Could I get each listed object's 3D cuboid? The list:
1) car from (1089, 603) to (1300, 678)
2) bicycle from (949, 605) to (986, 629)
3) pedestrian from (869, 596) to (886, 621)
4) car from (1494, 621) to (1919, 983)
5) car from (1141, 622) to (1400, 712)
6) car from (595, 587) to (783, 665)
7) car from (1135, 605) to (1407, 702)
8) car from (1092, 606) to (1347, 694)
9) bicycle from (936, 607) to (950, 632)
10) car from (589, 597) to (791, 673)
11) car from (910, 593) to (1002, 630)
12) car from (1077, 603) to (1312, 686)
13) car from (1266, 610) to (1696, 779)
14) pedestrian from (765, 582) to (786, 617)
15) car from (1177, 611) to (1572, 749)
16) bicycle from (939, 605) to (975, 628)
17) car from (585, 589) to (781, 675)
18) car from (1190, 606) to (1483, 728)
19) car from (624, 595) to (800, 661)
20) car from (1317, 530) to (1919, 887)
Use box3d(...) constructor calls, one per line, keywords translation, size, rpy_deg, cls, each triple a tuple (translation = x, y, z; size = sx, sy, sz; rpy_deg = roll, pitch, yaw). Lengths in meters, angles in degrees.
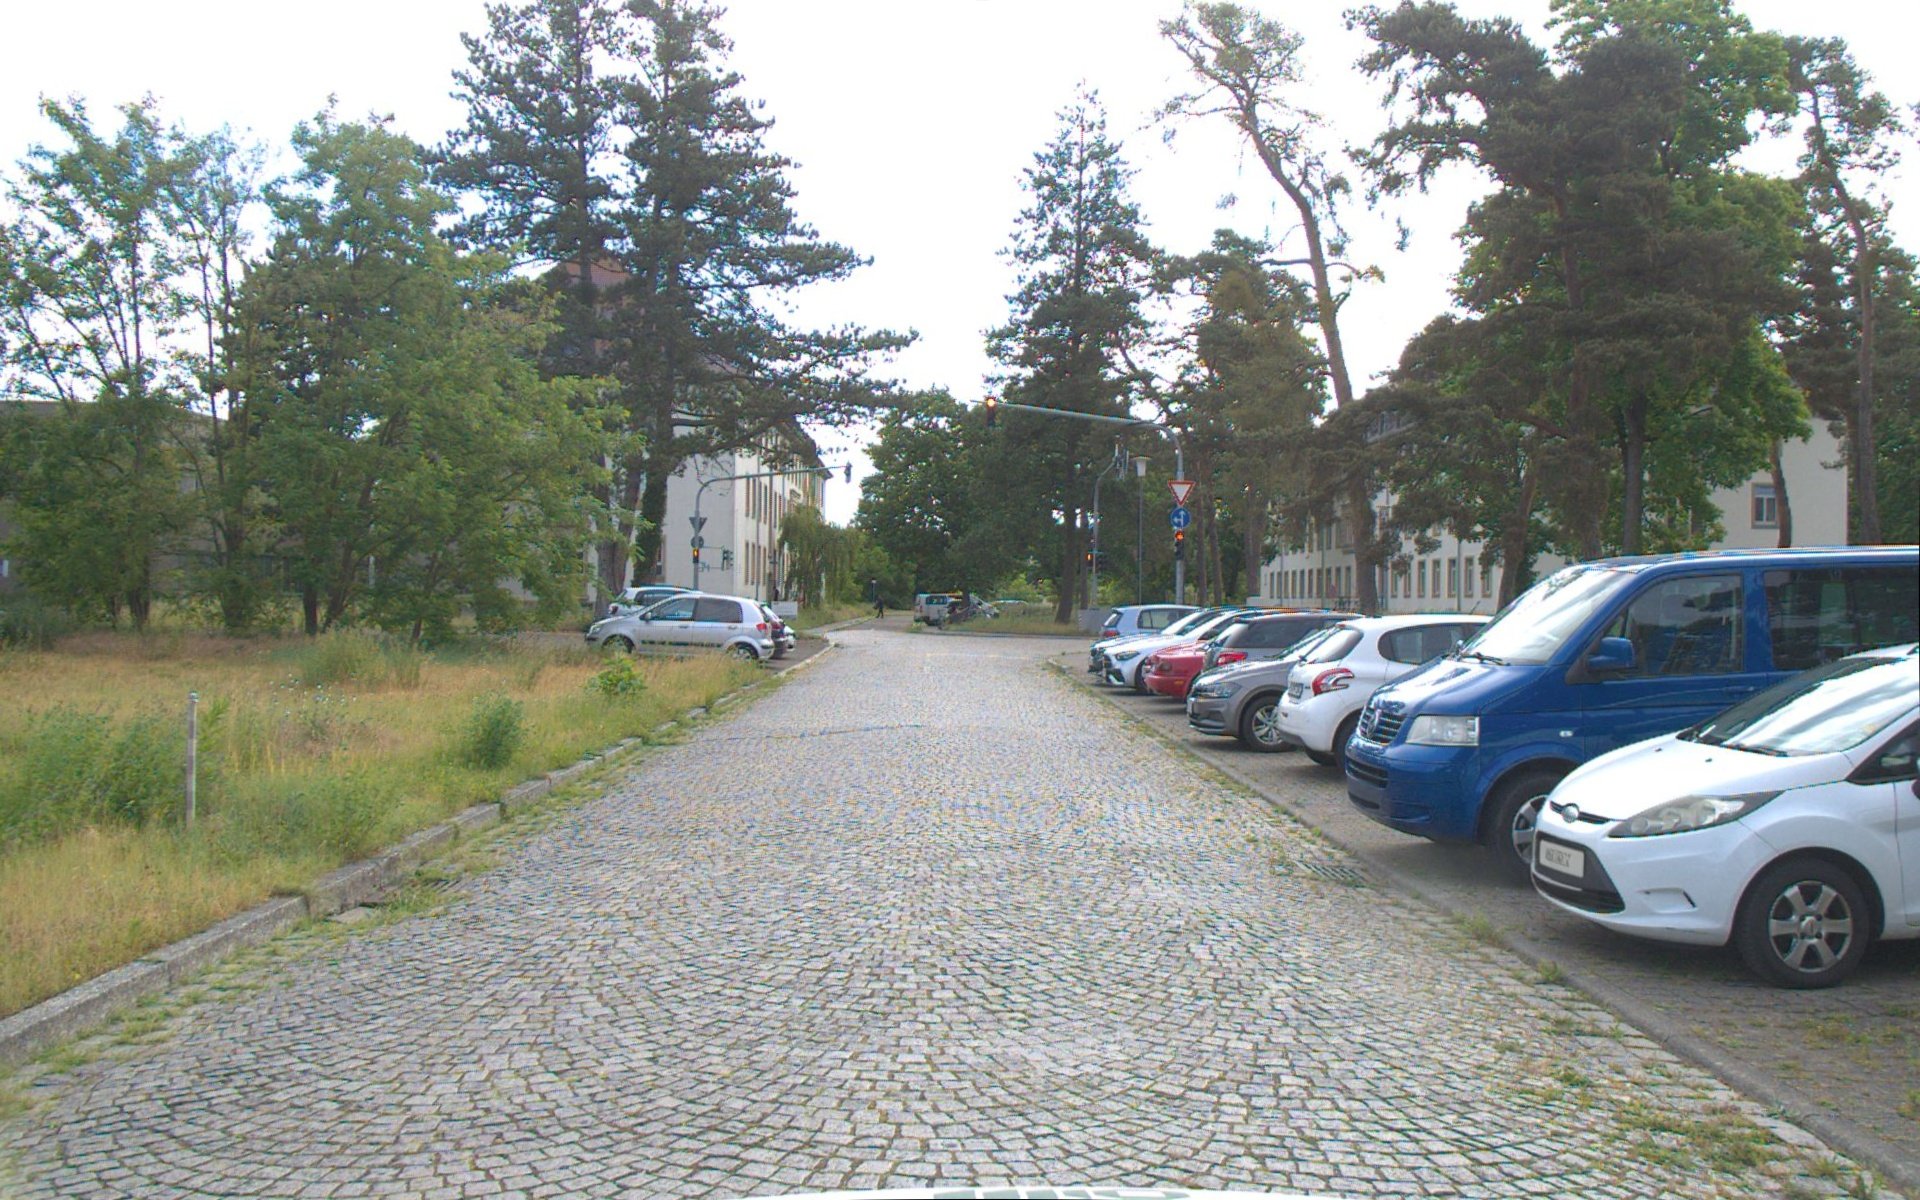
box3d(translation=(4.826, 0.812, 34.307), size=(4.056, 1.489, 1.631), rpy_deg=(0, 0, -7), cls="car")
box3d(translation=(0.401, 0.887, 86.327), size=(1.845, 1.191, 0.664), rpy_deg=(2, -1, -7), cls="bicycle")
box3d(translation=(-6.543, 0.670, 130.892), size=(1.215, 1.993, 1.120), rpy_deg=(2, -1, -6), cls="pedestrian")
box3d(translation=(4.878, 0.868, 8.032), size=(4.017, 1.504, 1.720), rpy_deg=(0, 0, -4), cls="car")
box3d(translation=(4.493, 0.962, 24.274), size=(3.513, 1.244, 1.628), rpy_deg=(0, 0, 0), cls="car")
box3d(translation=(-6.248, 0.589, 38.535), size=(4.215, 1.762, 1.650), rpy_deg=(0, 0, -7), cls="car")
box3d(translation=(4.945, 0.834, 26.627), size=(4.023, 1.502, 1.684), rpy_deg=(0, 0, -3), cls="car")
box3d(translation=(4.502, 0.844, 28.980), size=(4.107, 1.462, 1.752), rpy_deg=(0, 0, -8), cls="car")
box3d(translation=(-0.855, 0.962, 81.665), size=(0.649, 1.191, 1.887), rpy_deg=(2, 0, -1), cls="bicycle")
box3d(translation=(-5.775, 0.735, 35.740), size=(4.216, 1.581, 1.809), rpy_deg=(0, 0, -7), cls="car")
box3d(translation=(-0.275, 0.700, 101.118), size=(5.284, 2.138, 2.171), rpy_deg=(1, 0, -14), cls="car")
box3d(translation=(4.473, 0.824, 31.746), size=(4.154, 1.505, 1.705), rpy_deg=(0, 0, -12), cls="car")
box3d(translation=(4.894, 0.860, 15.886), size=(3.579, 1.504, 1.765), rpy_deg=(0, 0, -1), cls="car")
box3d(translation=(-10.988, -0.031, 98.589), size=(1.052, 1.993, 1.121), rpy_deg=(2, -1, -1), cls="pedestrian")
box3d(translation=(4.611, 0.869, 18.784), size=(4.046, 1.472, 1.765), rpy_deg=(0, 0, -1), cls="car")
box3d(translation=(-0.155, 0.883, 89.812), size=(1.845, 1.191, 0.664), rpy_deg=(2, -1, -7), cls="bicycle")
box3d(translation=(-5.502, 0.624, 33.150), size=(3.647, 1.506, 1.672), rpy_deg=(3, 0, -4), cls="car")
box3d(translation=(4.858, 0.840, 21.657), size=(3.434, 1.513, 1.742), rpy_deg=(0, 0, -2), cls="car")
box3d(translation=(-6.106, 0.680, 40.992), size=(4.216, 1.581, 1.809), rpy_deg=(0, 0, -7), cls="car")
box3d(translation=(4.859, 0.613, 10.577), size=(4.700, 2.039, 1.965), rpy_deg=(0, 0, -3), cls="car")
